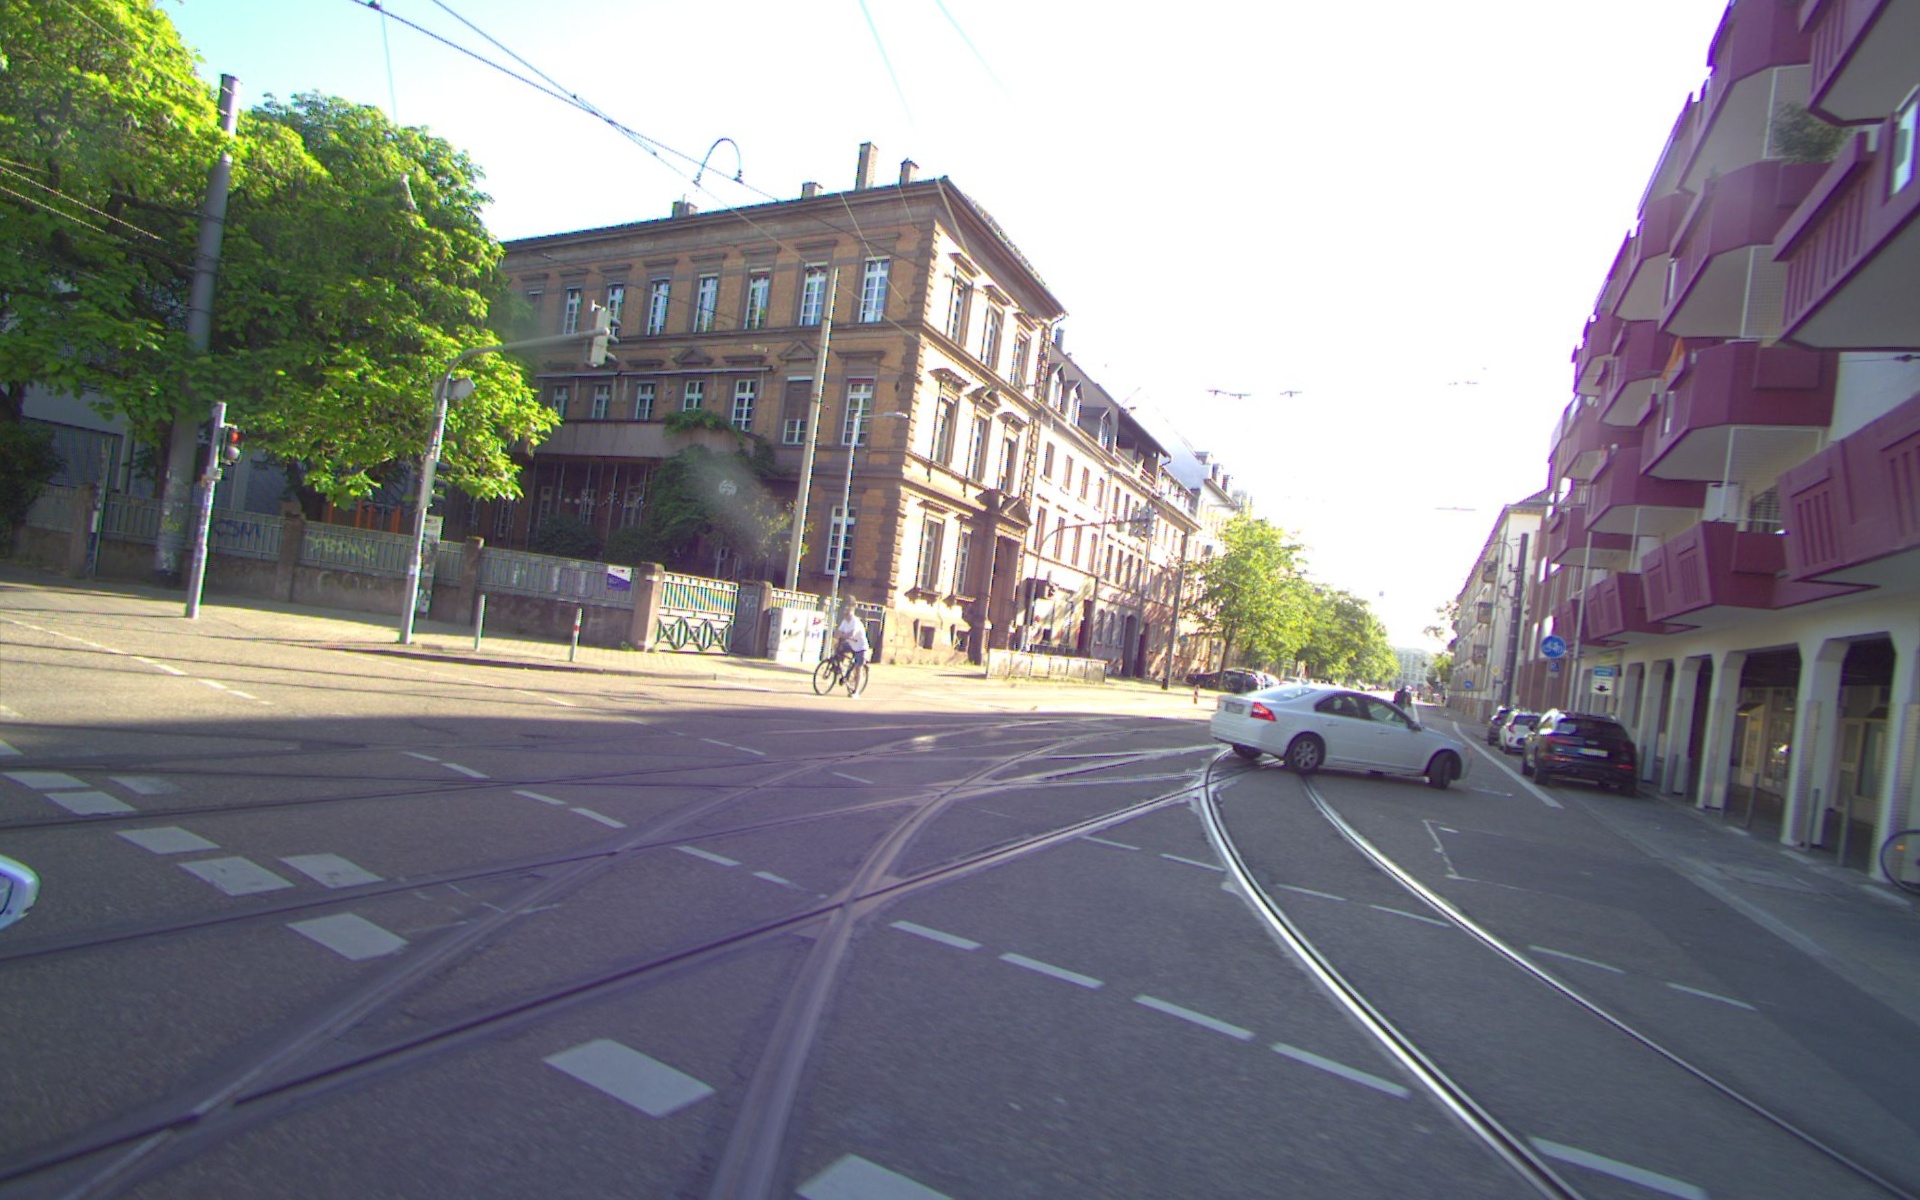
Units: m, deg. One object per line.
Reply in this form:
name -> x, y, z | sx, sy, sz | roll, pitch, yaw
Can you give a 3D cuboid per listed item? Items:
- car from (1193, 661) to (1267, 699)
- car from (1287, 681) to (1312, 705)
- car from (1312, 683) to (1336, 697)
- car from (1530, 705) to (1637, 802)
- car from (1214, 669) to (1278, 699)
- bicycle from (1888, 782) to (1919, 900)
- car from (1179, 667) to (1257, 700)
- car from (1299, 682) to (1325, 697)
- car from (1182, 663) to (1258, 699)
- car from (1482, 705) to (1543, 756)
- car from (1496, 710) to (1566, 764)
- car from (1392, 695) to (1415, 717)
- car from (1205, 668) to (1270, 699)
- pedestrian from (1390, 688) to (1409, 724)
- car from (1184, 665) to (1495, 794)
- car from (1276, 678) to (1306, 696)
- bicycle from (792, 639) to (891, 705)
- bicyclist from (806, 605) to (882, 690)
car -> 19.558, 5.757, 73.019 | 4.649, 2.009, 2.001 | 8, -1, 4
car -> 34.207, 9.372, 101.300 | 1.963, 2.035, 4.006 | 8, -3, 21
car -> 45.396, 11.232, 125.488 | 1.966, 1.370, 3.995 | 7, -1, 30
car -> 13.773, 3.351, 22.403 | 1.709, 1.703, 3.906 | 7, -3, 30
car -> 22.994, 6.723, 80.822 | 4.651, 1.704, 2.001 | 8, -1, 21
bicycle -> 11.092, 2.707, 11.146 | 1.779, 1.214, 0.611 | 8, 0, -31
car -> 17.312, 5.574, 67.581 | 4.649, 1.467, 1.909 | 8, -1, 4
car -> 40.409, 10.224, 115.447 | 1.966, 1.370, 3.995 | 7, -1, 30
car -> 17.981, 5.594, 69.771 | 4.649, 1.737, 2.001 | 8, -1, 4
car -> 22.087, 5.192, 40.186 | 1.859, 1.636, 3.997 | 7, -3, 30
car -> 19.970, 4.762, 35.237 | 1.880, 1.486, 3.998 | 7, -3, 30
car -> 46.450, 11.099, 105.421 | 1.964, 1.868, 4.005 | 8, -3, 23
car -> 21.553, 6.498, 78.352 | 4.648, 1.704, 2.002 | 8, -1, 15
pedestrian -> 23.365, 5.612, 53.486 | 0.684, 1.790, 0.989 | 8, 0, 23
car -> 6.554, 2.233, 17.448 | 4.828, 1.473, 1.849 | 9, -1, -17
car -> 30.791, 8.077, 93.538 | 1.776, 1.370, 3.995 | 7, -1, 30
bicycle -> -2.314, 1.434, 20.068 | 0.830, 1.132, 2.332 | 8, -1, 21
bicyclist -> -2.289, 0.947, 20.000 | 0.993, 1.527, 0.928 | 8, 0, 21
